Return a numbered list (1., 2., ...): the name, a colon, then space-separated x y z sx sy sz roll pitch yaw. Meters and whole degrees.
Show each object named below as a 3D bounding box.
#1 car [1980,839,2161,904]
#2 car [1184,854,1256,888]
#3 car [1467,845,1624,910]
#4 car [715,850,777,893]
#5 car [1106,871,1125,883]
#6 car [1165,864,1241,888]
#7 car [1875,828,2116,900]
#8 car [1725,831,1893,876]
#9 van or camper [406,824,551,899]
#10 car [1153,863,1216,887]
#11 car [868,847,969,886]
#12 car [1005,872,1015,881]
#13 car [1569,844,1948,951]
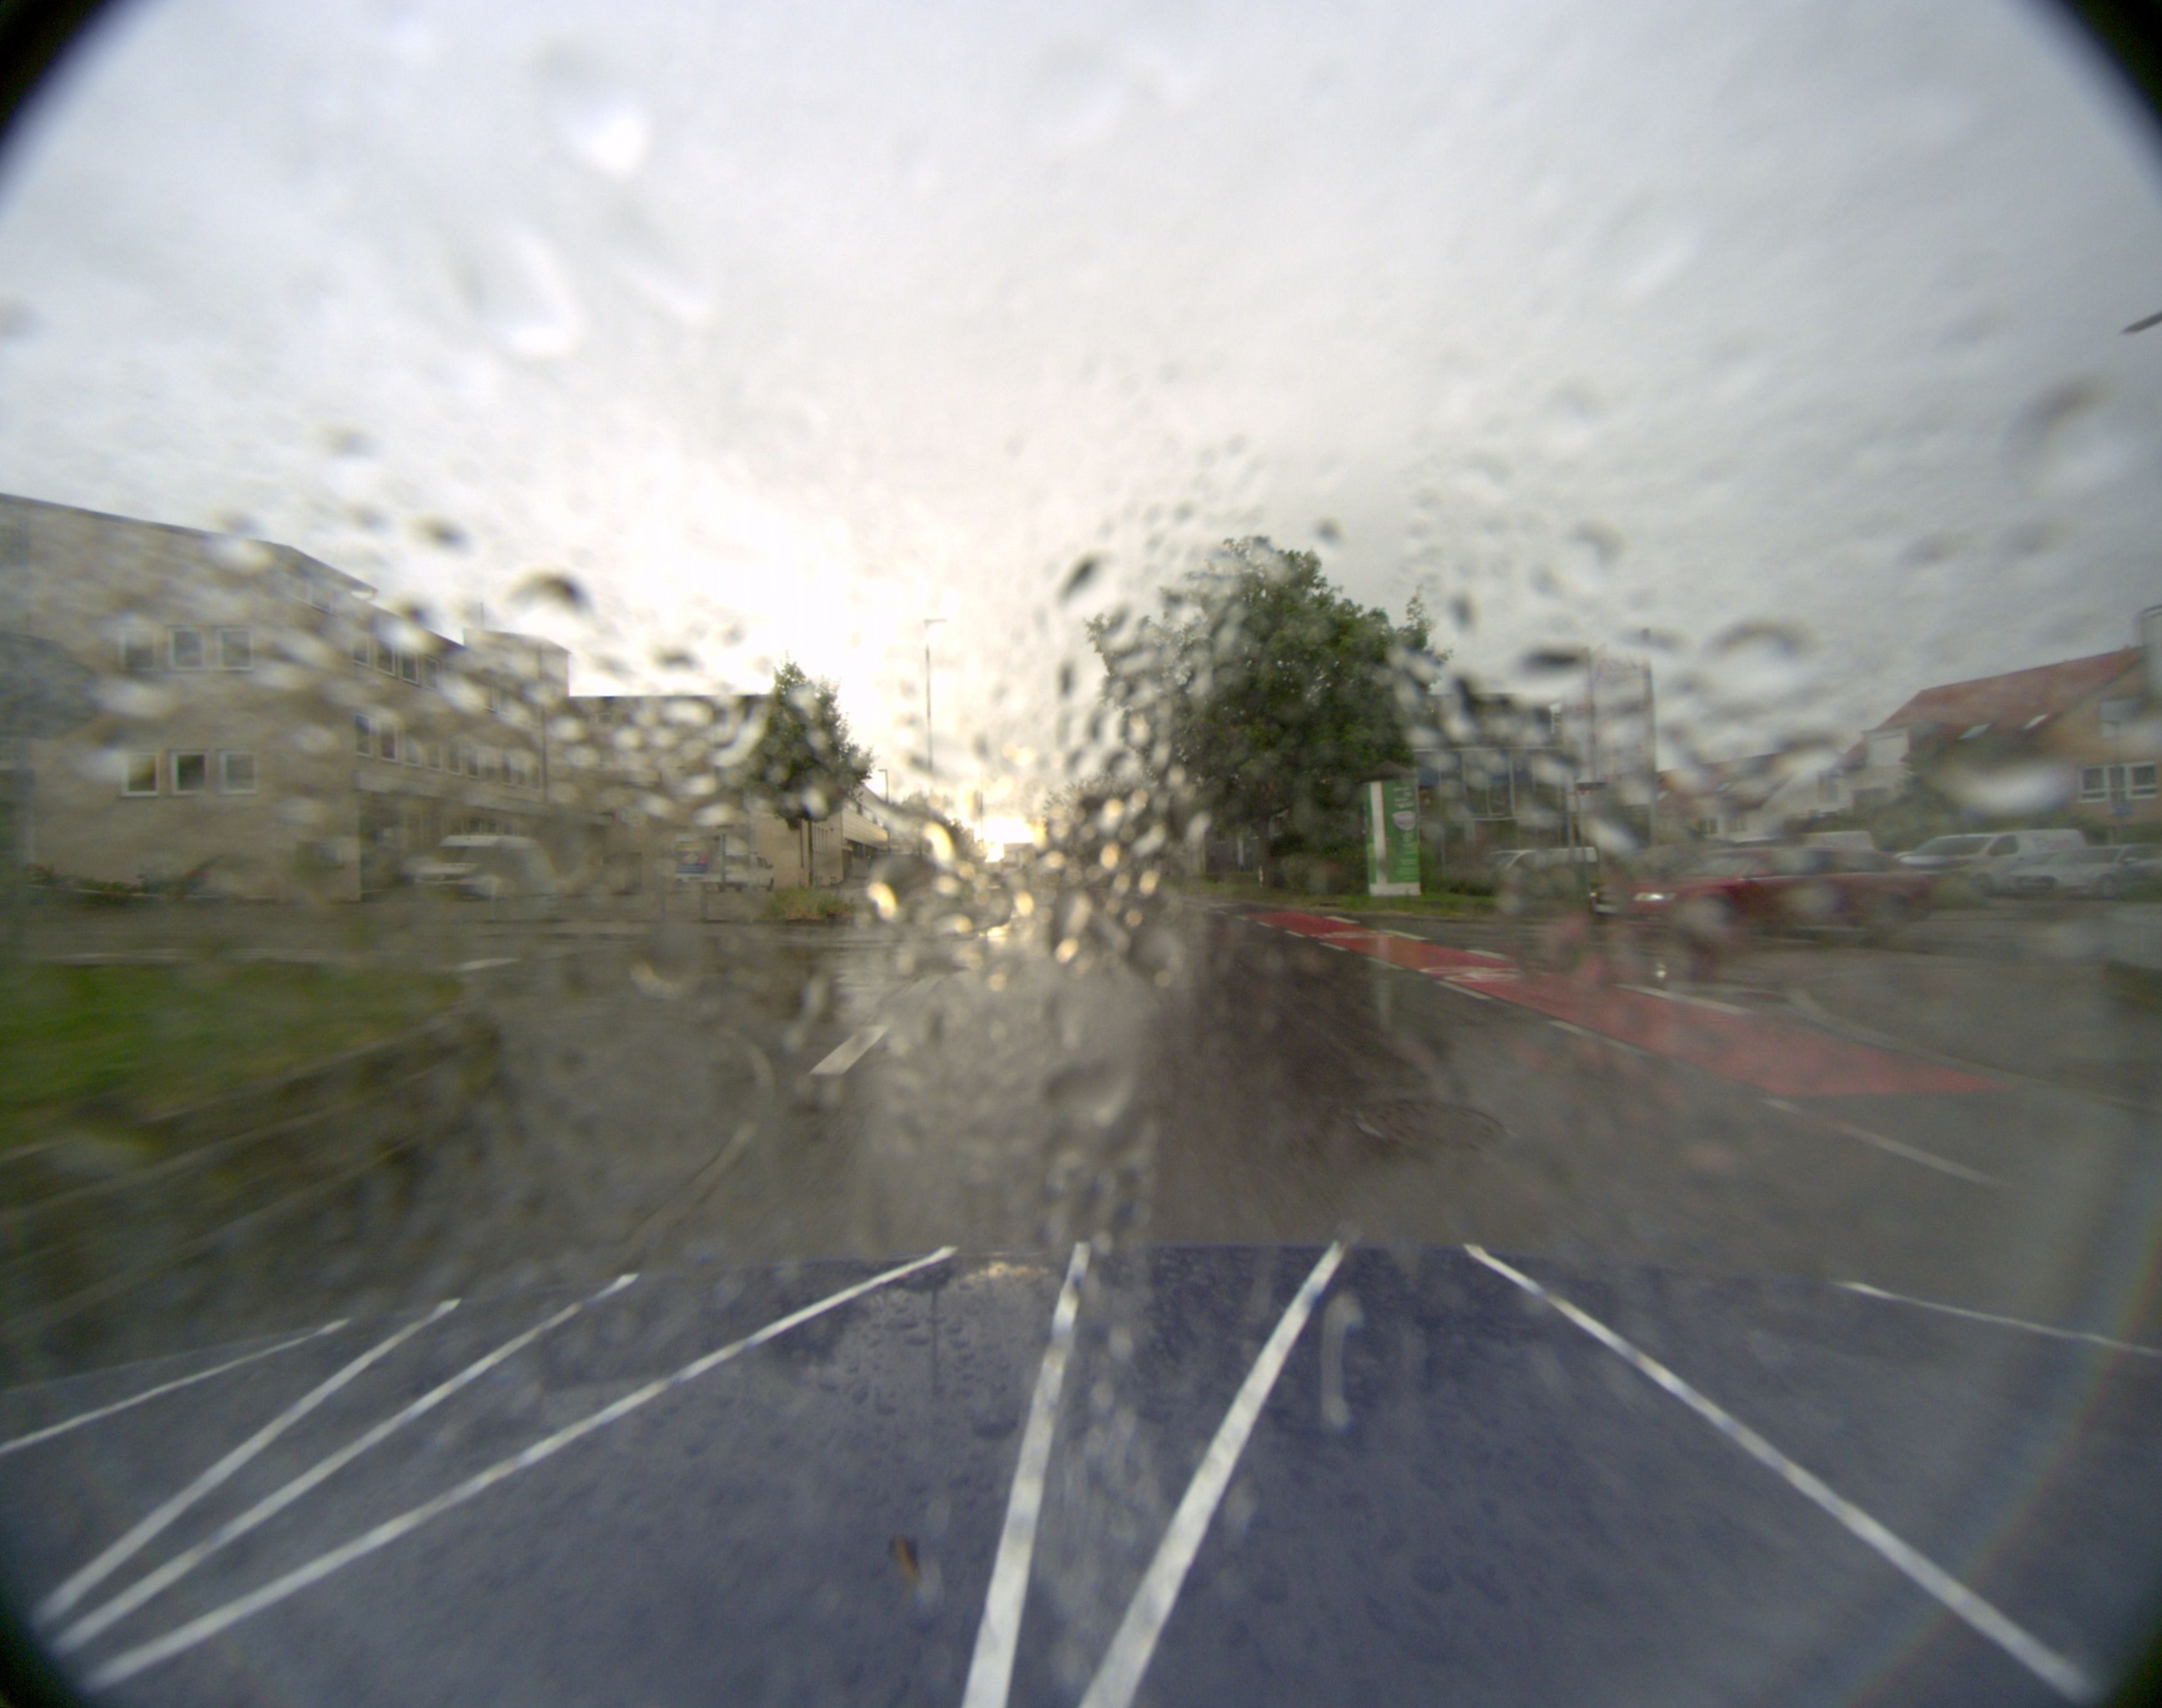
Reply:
1. car: 27.379 0.462 20.578 3.961 1.483 1.749 -4 -2 -2
2. car: 6.235 0.743 34.159 2.917 1.447 1.252 -1 1 -6
3. car: 16.688 0.859 27.401 4.411 2.001 2.153 -3 -2 -11
4. car: -17.489 0.966 39.901 1.799 2.001 4.599 -3 -2 -9
5. car: 6.160 4.049 134.922 2.040 1.811 5.607 -3 -2 -10
6. car: 6.812 1.225 42.663 3.912 1.276 1.581 -1 -1 -6
7. car: 27.695 0.326 23.127 5.075 1.758 1.880 -4 -2 -2
8. car: 27.203 -0.026 28.476 4.564 1.558 2.178 -1 0 -8
9. van or camper: -23.237 0.431 29.712 2.001 2.521 6.597 -3 -2 -16
10. car: 5.310 1.085 39.084 2.917 1.152 1.471 -1 -1 -6
11. car: -8.496 0.658 39.552 5.102 1.908 2.058 -1 0 31
12. car: -14.213 4.471 151.985 1.856 1.545 4.501 -3 -2 -7
13. car: 10.950 0.665 12.514 4.655 1.558 1.874 -1 0 -2
